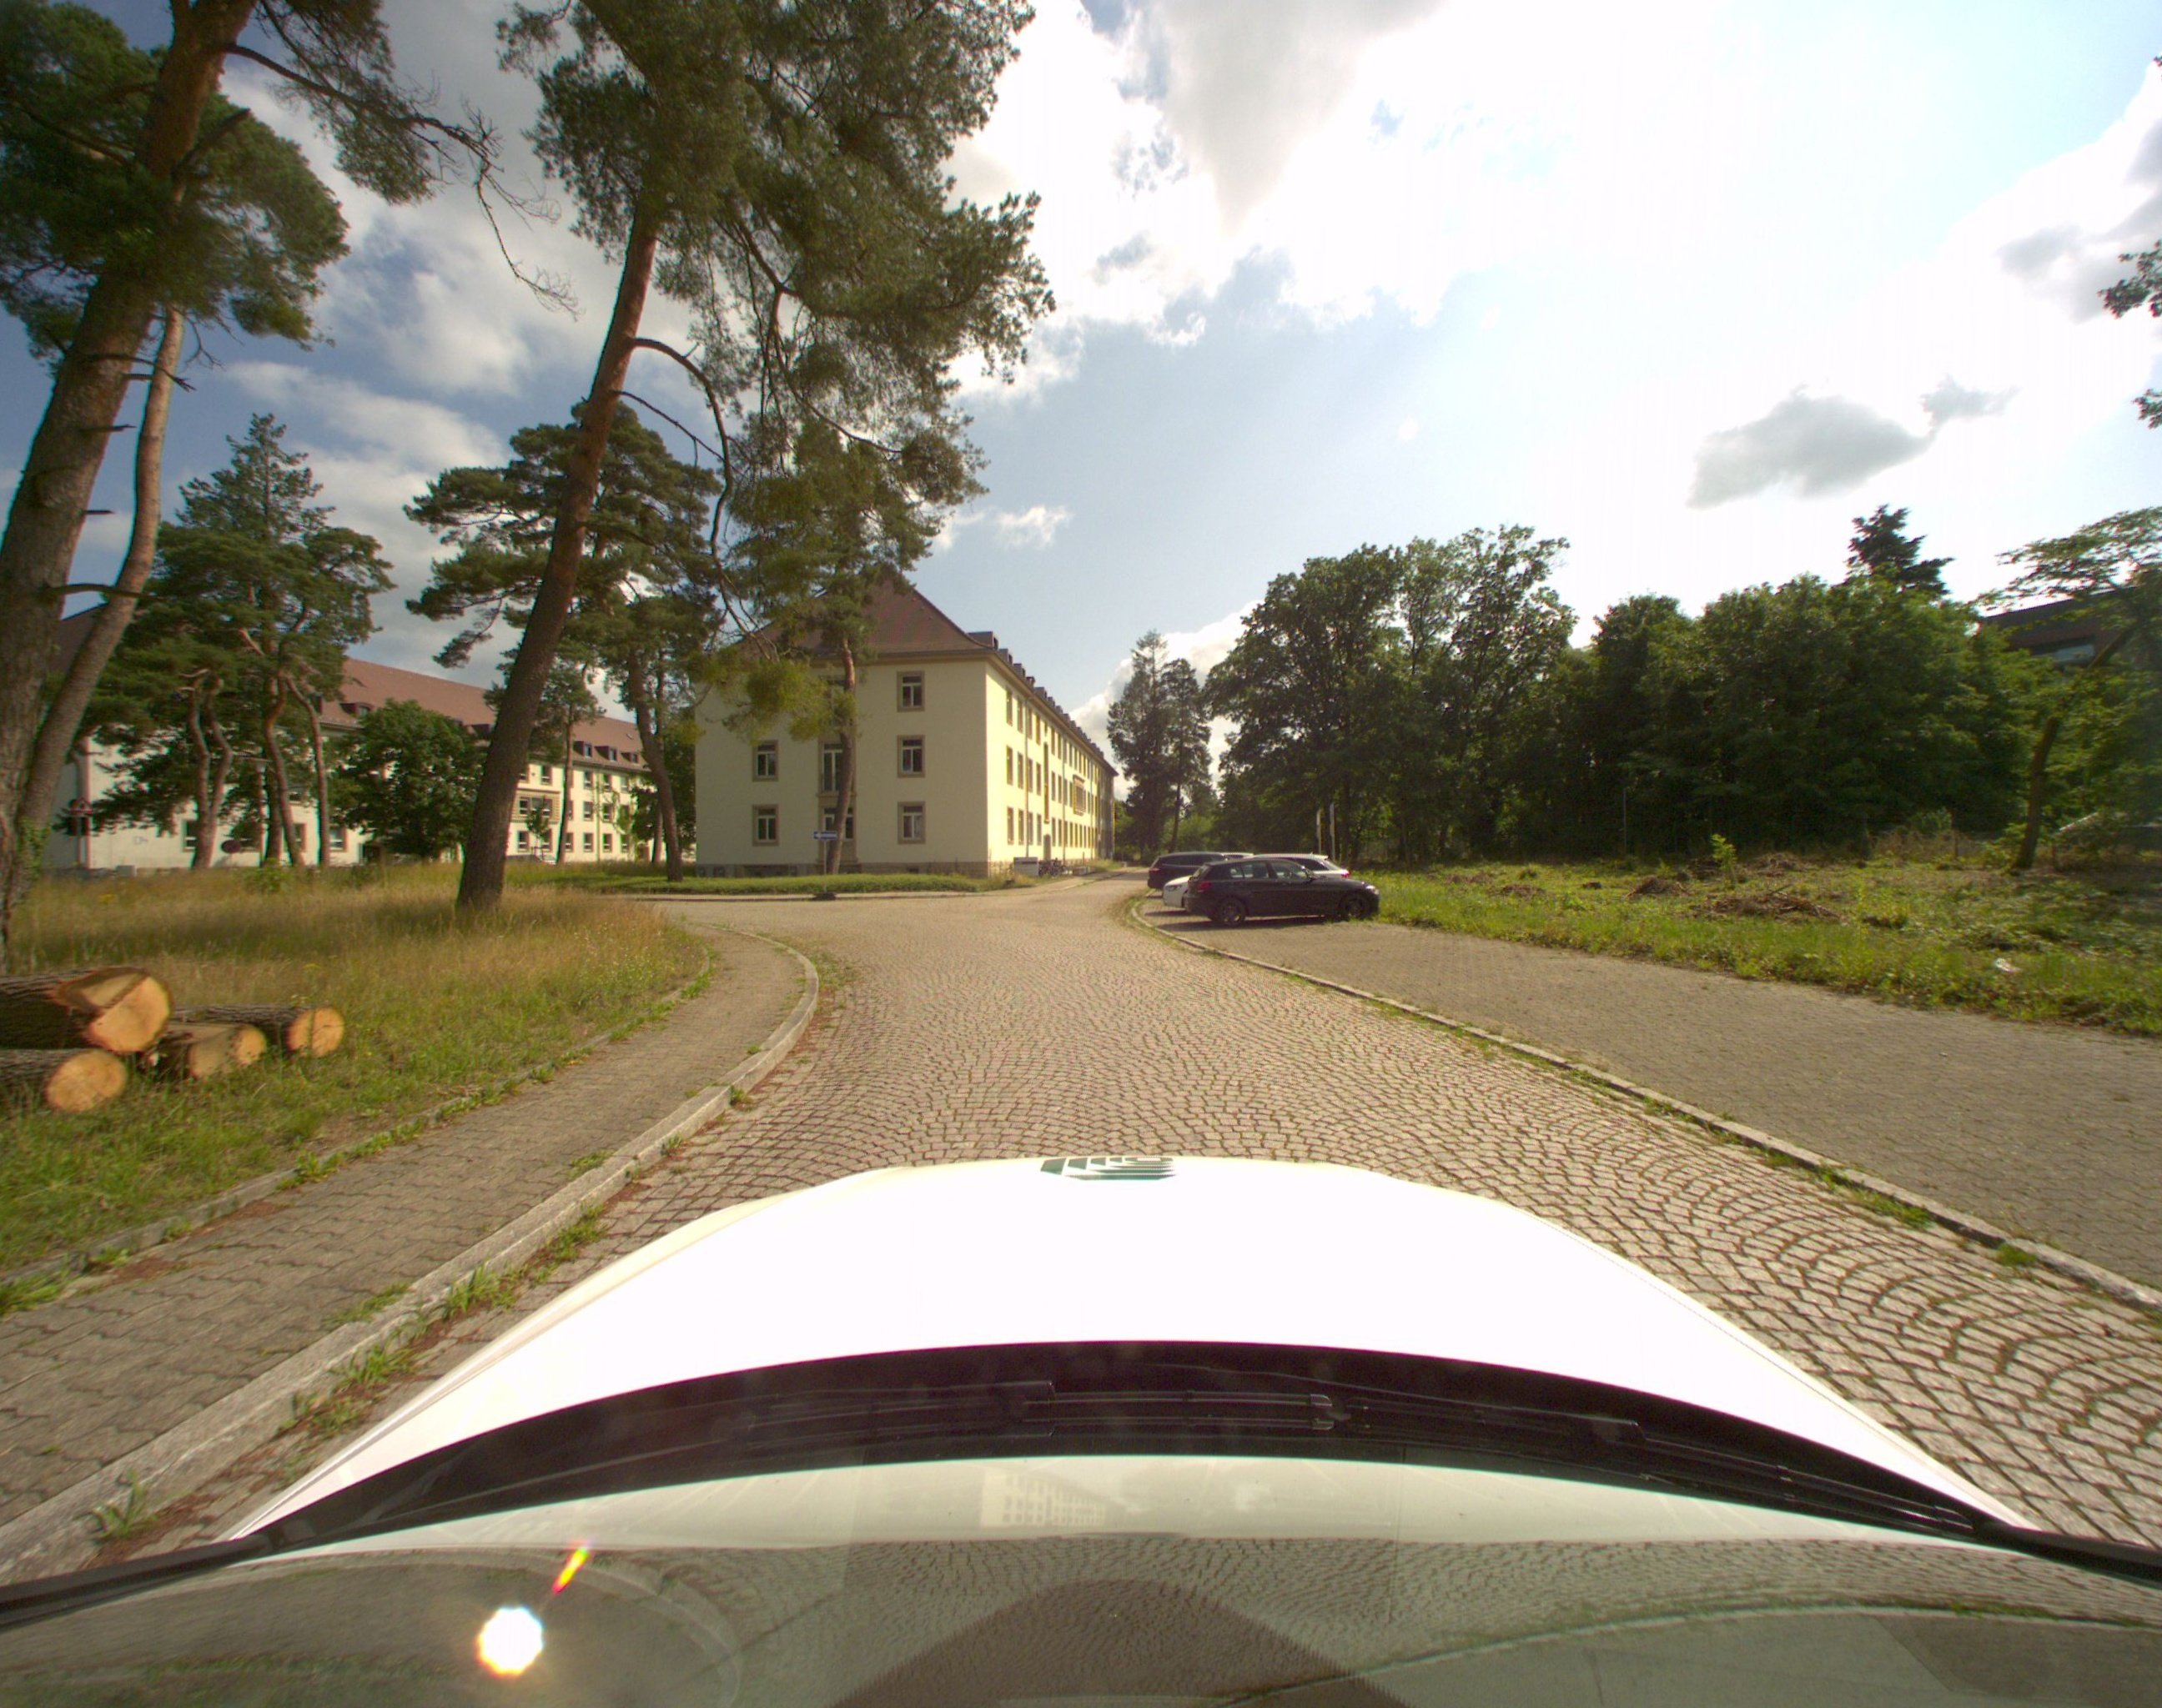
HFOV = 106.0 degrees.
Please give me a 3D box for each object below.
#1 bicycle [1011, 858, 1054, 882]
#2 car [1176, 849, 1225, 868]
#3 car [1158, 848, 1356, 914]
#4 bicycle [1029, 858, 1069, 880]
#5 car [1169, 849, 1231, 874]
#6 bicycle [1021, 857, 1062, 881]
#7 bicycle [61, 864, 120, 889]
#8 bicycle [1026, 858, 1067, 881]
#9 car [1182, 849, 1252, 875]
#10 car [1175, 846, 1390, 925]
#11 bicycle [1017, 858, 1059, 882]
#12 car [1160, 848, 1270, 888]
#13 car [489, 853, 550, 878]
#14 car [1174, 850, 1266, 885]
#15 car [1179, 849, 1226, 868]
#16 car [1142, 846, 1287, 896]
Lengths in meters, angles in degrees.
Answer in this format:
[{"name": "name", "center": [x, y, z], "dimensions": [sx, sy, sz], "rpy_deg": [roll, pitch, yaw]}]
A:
[{"name": "bicycle", "center": [-2.647, 0.850, 44.141], "dimensions": [2.206, 1.260, 0.625], "rpy_deg": [-1, 0, 13]}, {"name": "car", "center": [10.382, 0.421, 70.683], "dimensions": [4.162, 1.484, 1.825], "rpy_deg": [-2, -1, 9]}, {"name": "car", "center": [4.478, 0.677, 21.335], "dimensions": [4.837, 1.472, 1.878], "rpy_deg": [-2, 1, 6]}, {"name": "bicycle", "center": [-1.855, 0.869, 47.669], "dimensions": [2.208, 1.260, 0.625], "rpy_deg": [-1, 0, 9]}, {"name": "car", "center": [8.277, 0.517, 56.691], "dimensions": [4.162, 1.543, 1.825], "rpy_deg": [-2, -1, 9]}, {"name": "bicycle", "center": [-2.208, 0.845, 45.844], "dimensions": [2.206, 1.260, 0.625], "rpy_deg": [-1, 0, 13]}, {"name": "bicycle", "center": [-44.651, 0.999, 36.733], "dimensions": [0.486, 1.100, 1.594], "rpy_deg": [-1, 0, 19]}, {"name": "bicycle", "center": [-1.972, 0.869, 46.664], "dimensions": [2.208, 1.260, 0.625], "rpy_deg": [-1, 0, 9]}, {"name": "car", "center": [8.550, 0.497, 51.204], "dimensions": [4.241, 1.484, 1.825], "rpy_deg": [-2, -1, 9]}, {"name": "car", "center": [4.385, 0.662, 18.155], "dimensions": [4.311, 1.500, 1.829], "rpy_deg": [-2, 1, -1]}, {"name": "bicycle", "center": [-2.378, 0.873, 44.904], "dimensions": [2.208, 1.260, 0.625], "rpy_deg": [-1, 0, 9]}, {"name": "car", "center": [5.545, 0.597, 33.991], "dimensions": [4.376, 1.484, 1.768], "rpy_deg": [-2, -1, 6]}, {"name": "car", "center": [-47.423, 0.964, 68.806], "dimensions": [4.036, 1.991, 1.717], "rpy_deg": [-1, 0, 8]}, {"name": "car", "center": [6.583, 0.621, 38.649], "dimensions": [4.182, 1.484, 1.825], "rpy_deg": [-2, -1, 9]}, {"name": "car", "center": [10.979, 0.418, 73.548], "dimensions": [4.162, 1.484, 1.825], "rpy_deg": [-2, -1, 9]}, {"name": "car", "center": [4.628, 0.582, 28.707], "dimensions": [4.828, 1.552, 1.883], "rpy_deg": [-2, -1, 6]}]
